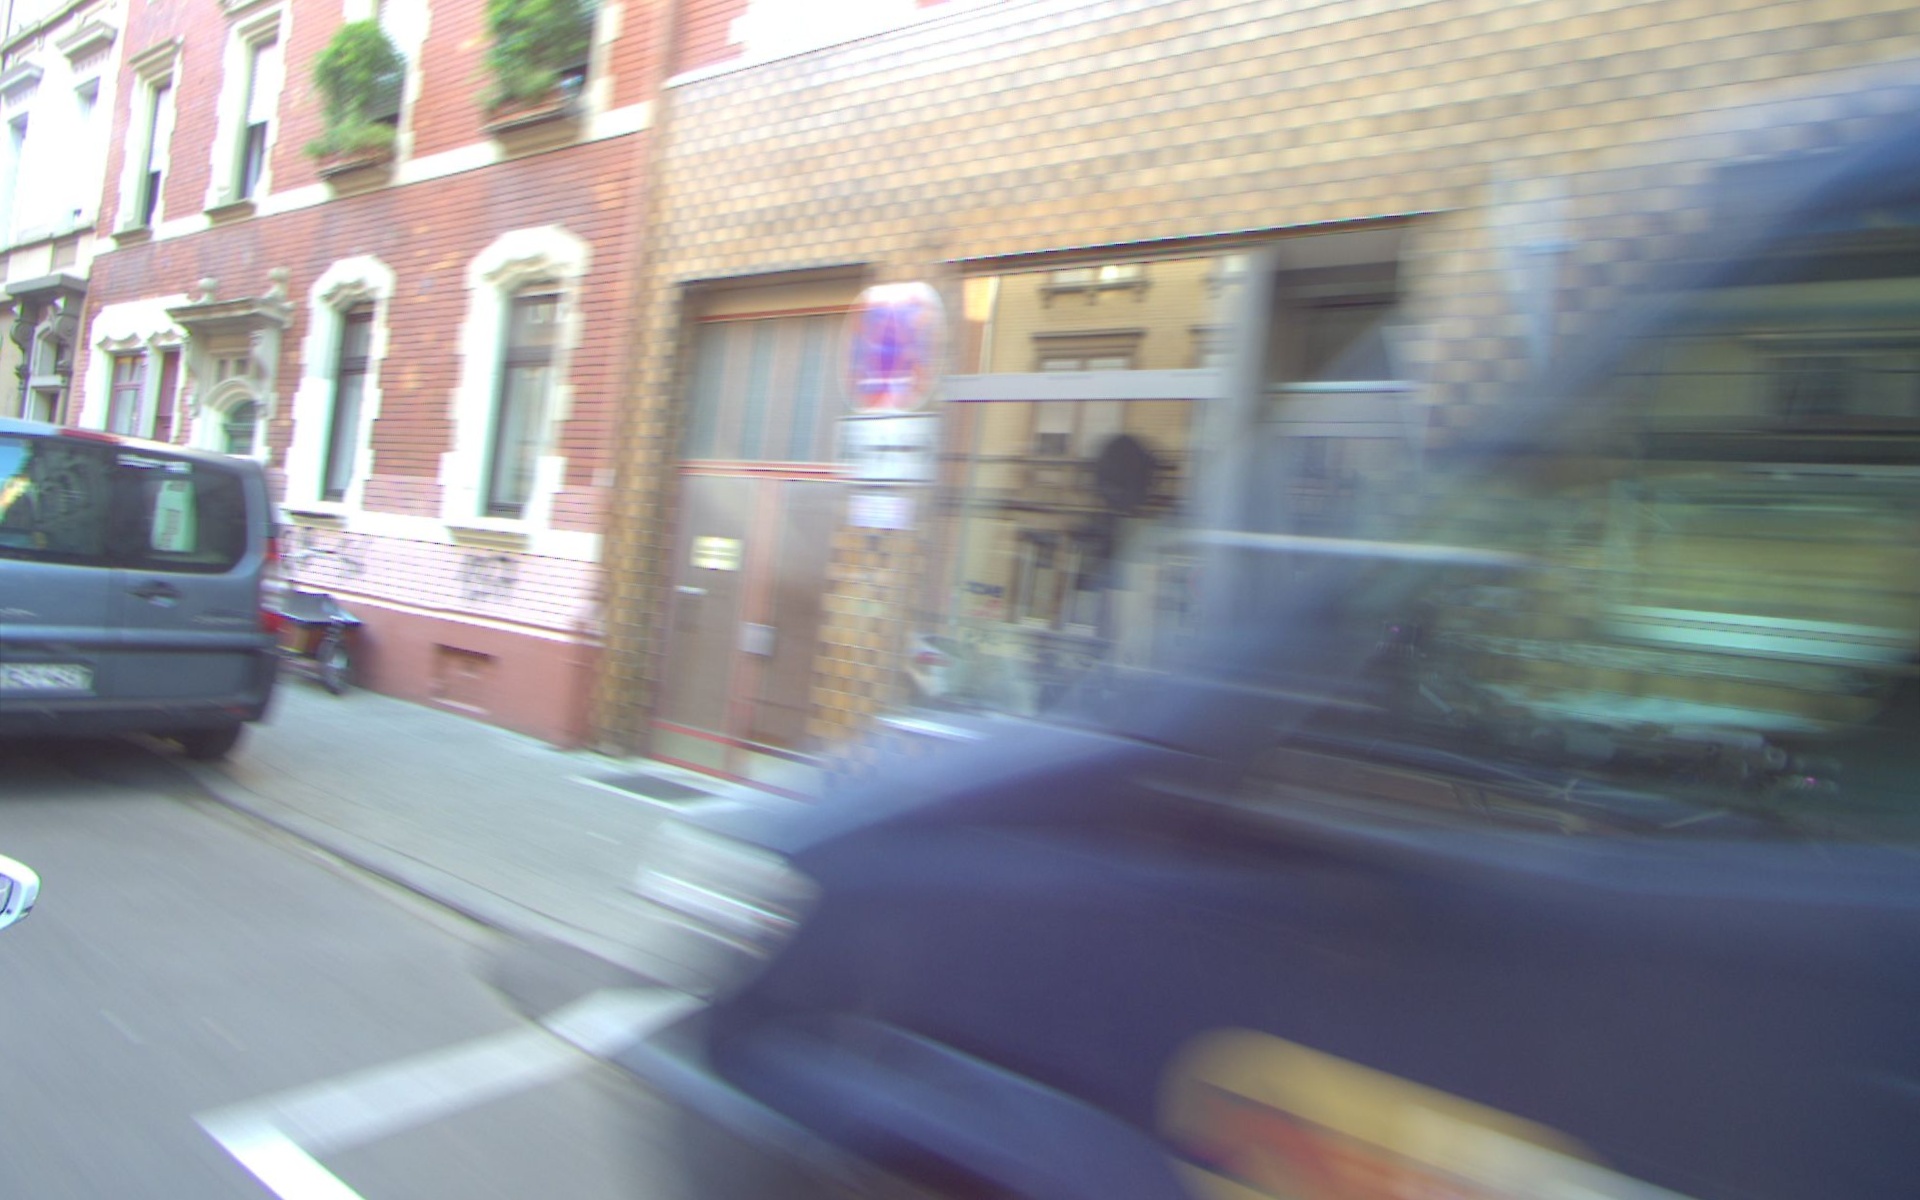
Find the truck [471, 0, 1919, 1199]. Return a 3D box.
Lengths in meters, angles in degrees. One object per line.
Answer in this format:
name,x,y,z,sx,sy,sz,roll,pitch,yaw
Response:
truck,2.373,0.529,1.111,6.148,2.694,2.148,7,3,30

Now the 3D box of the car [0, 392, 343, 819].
car,-6.162,-0.115,6.369,4.501,2.005,1.849,7,-3,33

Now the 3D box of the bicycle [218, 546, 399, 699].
bicycle,-6.245,0.181,9.607,1.960,1.239,0.668,6,2,33
